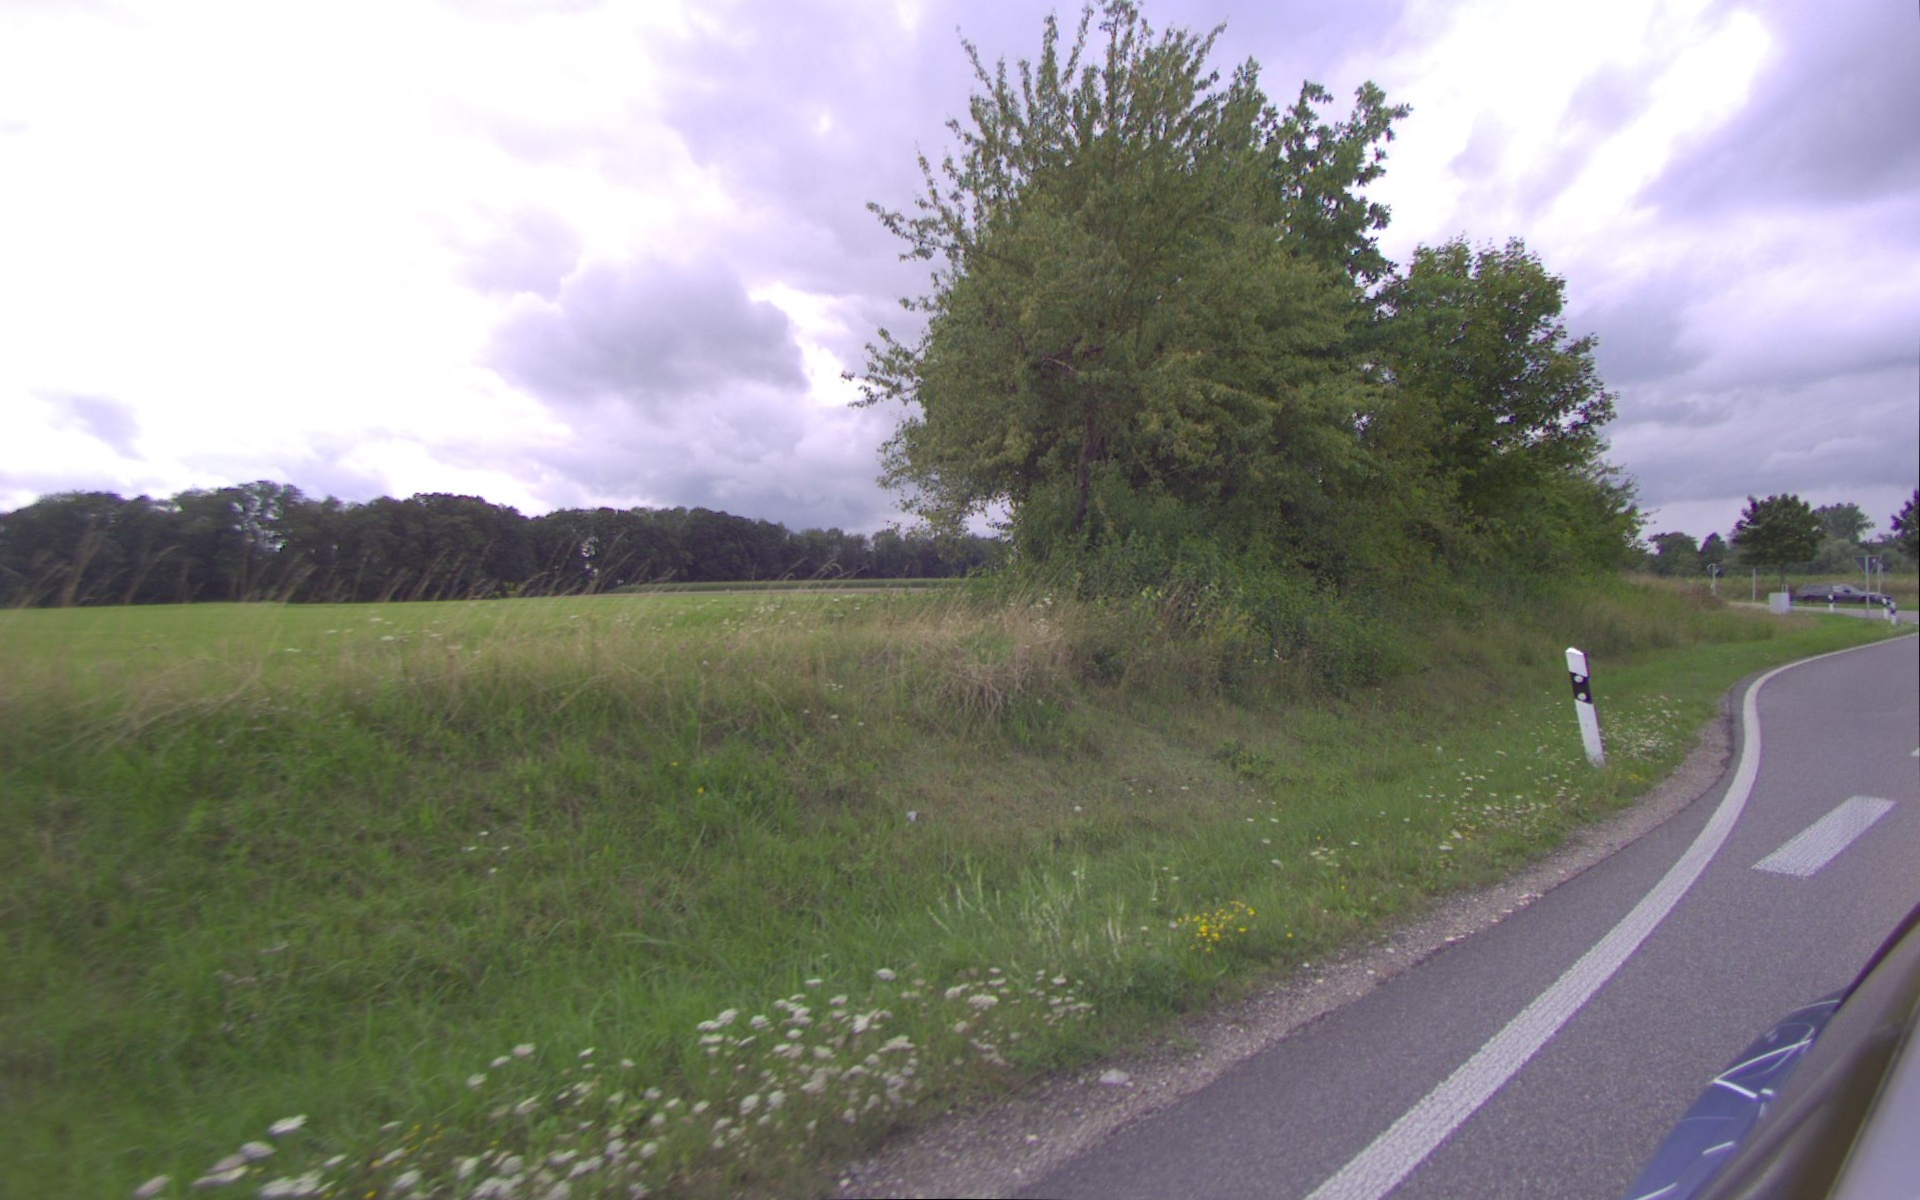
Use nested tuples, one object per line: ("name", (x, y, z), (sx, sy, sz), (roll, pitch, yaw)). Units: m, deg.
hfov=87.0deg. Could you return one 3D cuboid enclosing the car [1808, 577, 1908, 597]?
("car", (55.261, -0.805, 62.375), (1.830, 1.237, 4.348), (-1, 1, -36))
